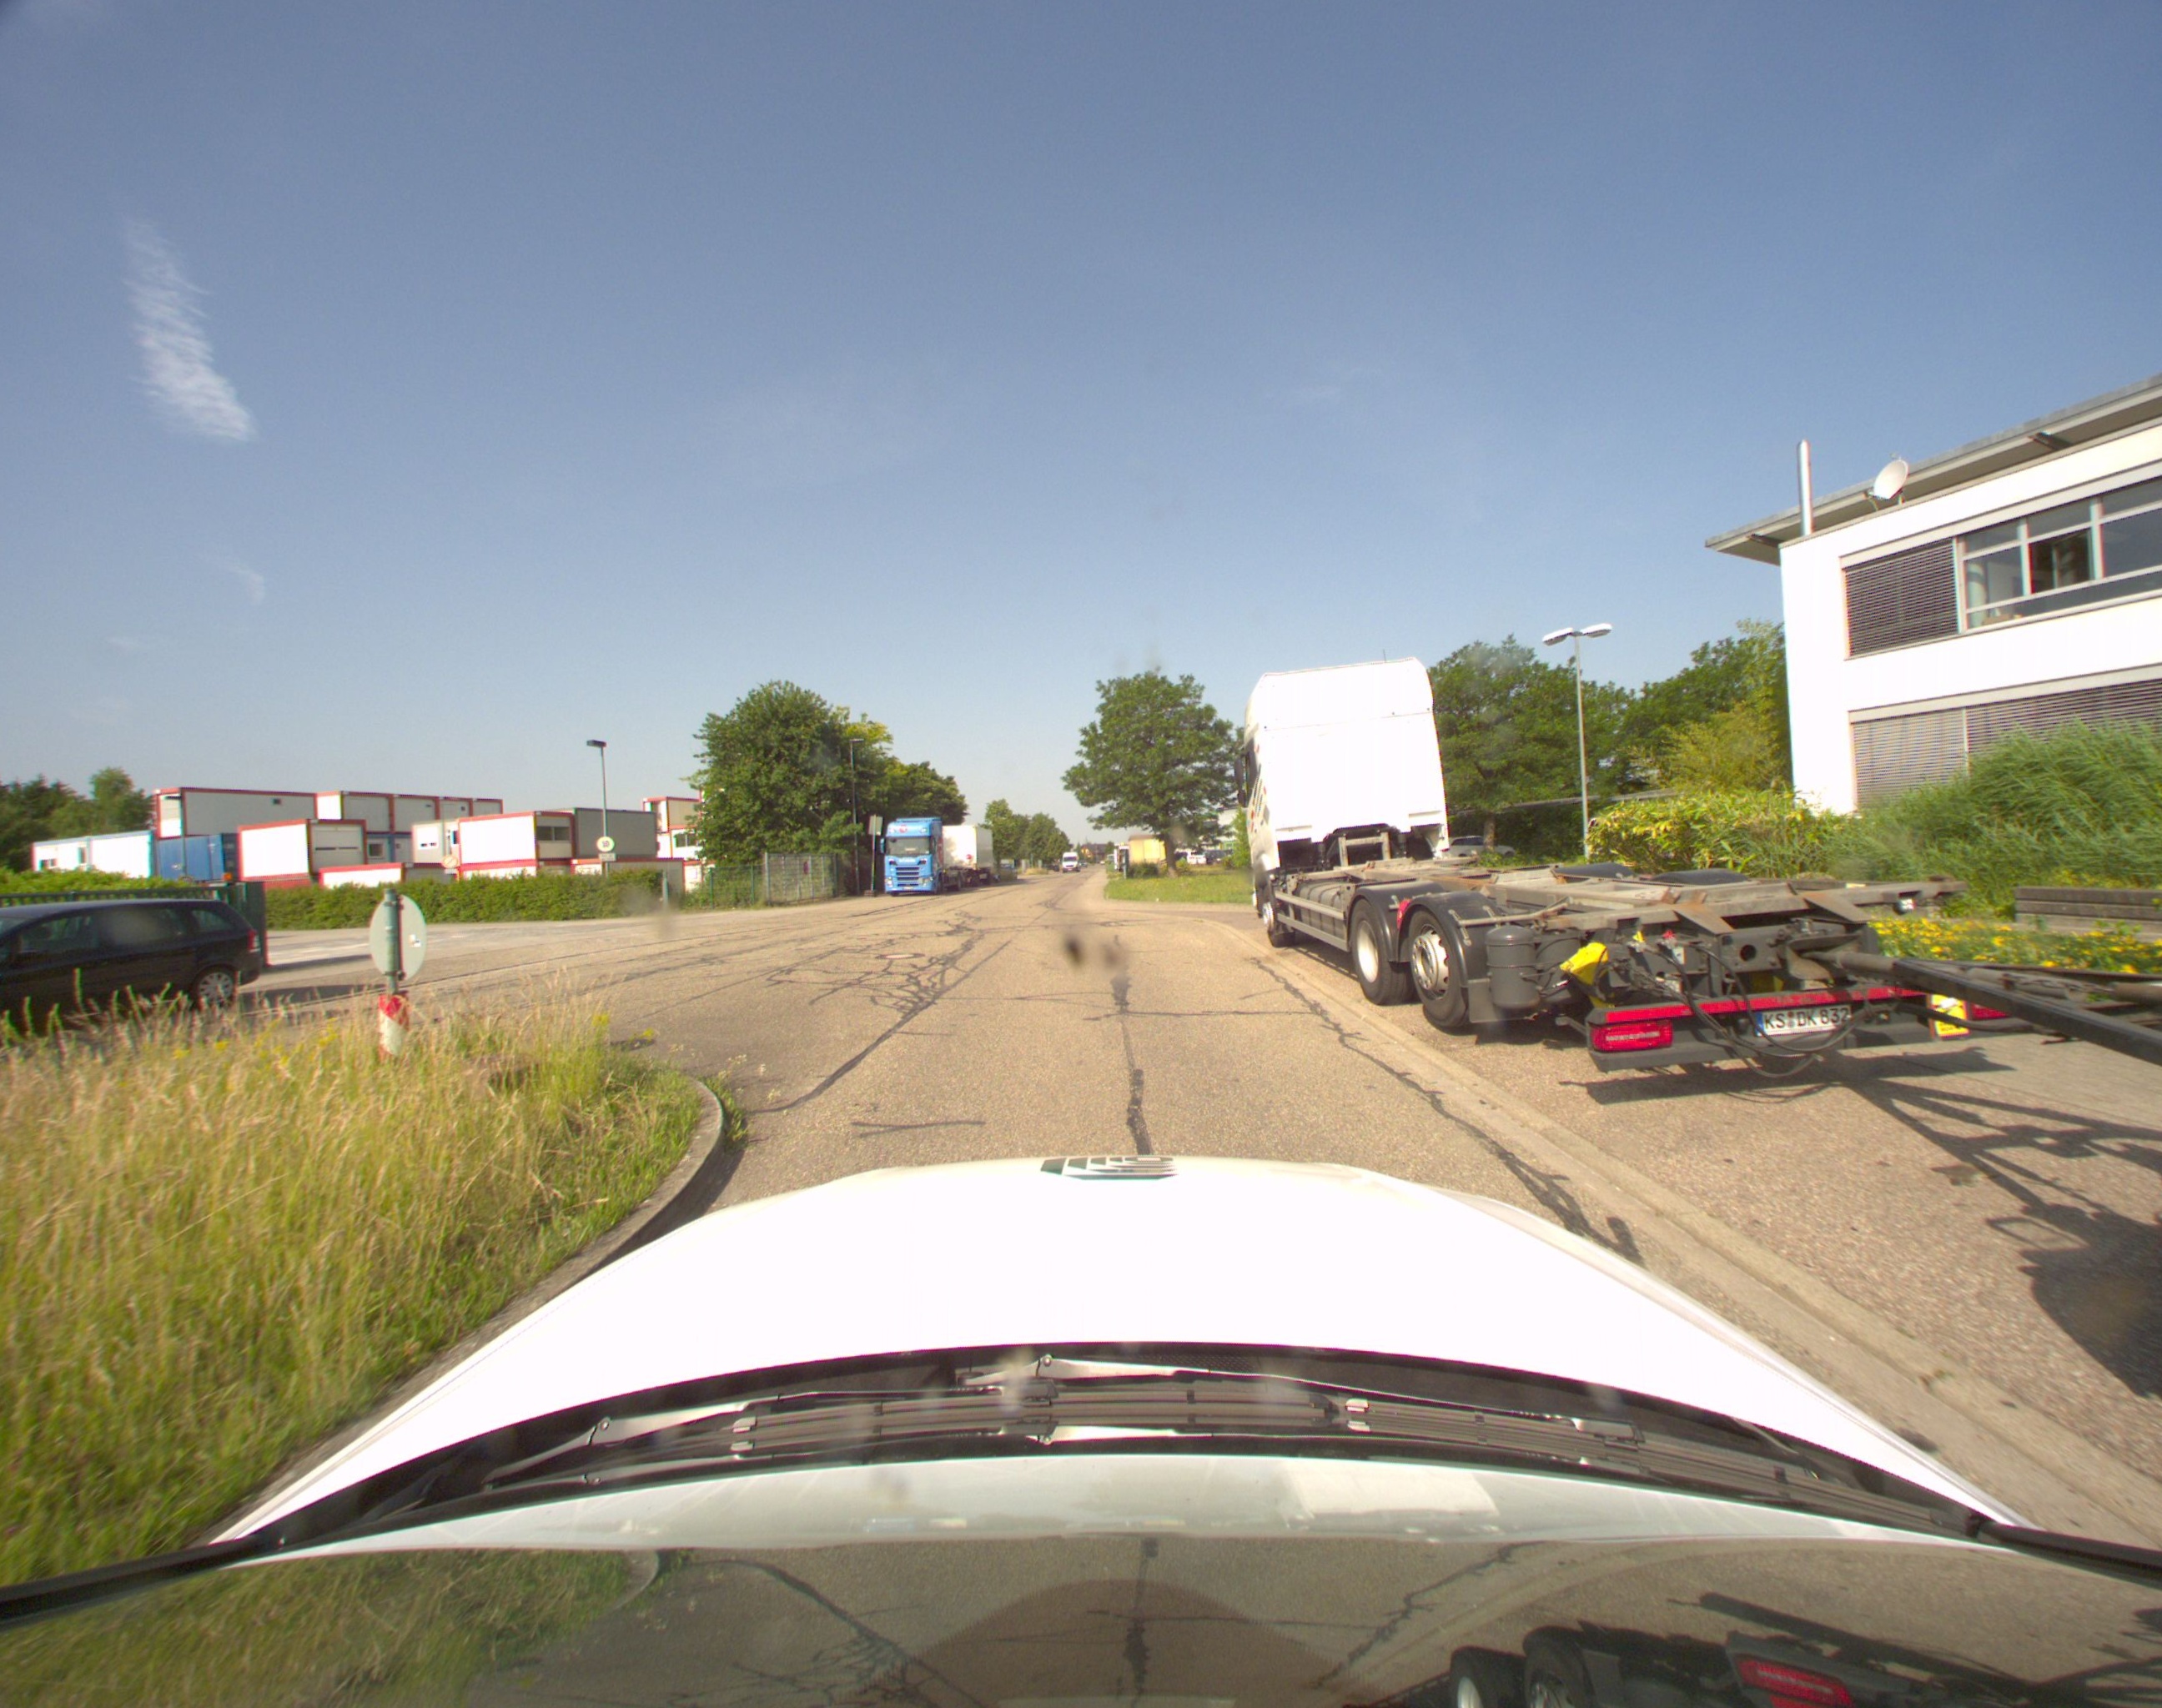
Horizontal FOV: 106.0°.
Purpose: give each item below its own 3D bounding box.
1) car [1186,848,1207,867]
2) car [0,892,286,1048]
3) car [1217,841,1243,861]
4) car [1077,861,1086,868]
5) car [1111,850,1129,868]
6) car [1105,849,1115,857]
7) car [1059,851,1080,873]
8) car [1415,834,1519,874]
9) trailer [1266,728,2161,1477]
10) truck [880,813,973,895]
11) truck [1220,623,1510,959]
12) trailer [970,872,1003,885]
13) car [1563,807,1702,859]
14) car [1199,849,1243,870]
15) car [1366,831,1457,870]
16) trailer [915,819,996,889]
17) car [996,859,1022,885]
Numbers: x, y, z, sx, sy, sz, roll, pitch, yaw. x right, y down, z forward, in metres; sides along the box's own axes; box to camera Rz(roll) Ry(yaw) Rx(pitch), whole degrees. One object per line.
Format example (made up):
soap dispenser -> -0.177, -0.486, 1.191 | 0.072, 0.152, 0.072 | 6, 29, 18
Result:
car -> 10.640, 0.343, 75.135 | 1.709, 1.618, 4.006 | -1, -1, 5
car -> -13.437, 1.439, 10.417 | 1.987, 1.641, 4.587 | -2, 0, 0
car -> 13.435, -0.221, 73.759 | 1.784, 1.640, 4.003 | -1, -1, 3
car -> 0.128, 2.374, 184.789 | 1.636, 1.662, 3.994 | -1, -1, -4
car -> 3.980, 0.548, 83.613 | 1.785, 1.750, 4.001 | -1, -1, 1
car -> 6.627, -0.209, 185.454 | 1.769, 1.815, 3.989 | -1, -1, -8
car -> -1.526, 1.023, 103.893 | 2.210, 2.686, 6.842 | -1, -1, -4
car -> 17.116, -0.007, 36.112 | 4.087, 1.701, 1.754 | -1, -2, -19
trailer -> 3.646, 0.421, 3.184 | 2.735, 1.574, 16.181 | -5, -1, 2
truck -> -8.002, 0.115, 43.613 | 2.814, 3.826, 9.676 | -1, -1, 2
truck -> 3.906, -0.780, 12.258 | 2.735, 3.981, 4.002 | -5, -1, 2
trailer -> -7.138, 1.832, 61.759 | 1.890, 0.760, 4.001 | -3, 0, 1
car -> 19.323, -0.723, 28.588 | 3.991, 1.706, 1.817 | -1, -2, -13
car -> 9.578, 0.395, 55.902 | 1.670, 1.330, 3.645 | -1, -1, -14
car -> 15.899, -0.156, 39.158 | 4.011, 1.767, 1.981 | 0, -2, -29
trailer -> -7.721, 0.135, 51.921 | 2.820, 3.843, 12.040 | -1, -1, 2
car -> -6.172, 1.510, 69.506 | 1.992, 2.013, 3.989 | -3, -1, -8
